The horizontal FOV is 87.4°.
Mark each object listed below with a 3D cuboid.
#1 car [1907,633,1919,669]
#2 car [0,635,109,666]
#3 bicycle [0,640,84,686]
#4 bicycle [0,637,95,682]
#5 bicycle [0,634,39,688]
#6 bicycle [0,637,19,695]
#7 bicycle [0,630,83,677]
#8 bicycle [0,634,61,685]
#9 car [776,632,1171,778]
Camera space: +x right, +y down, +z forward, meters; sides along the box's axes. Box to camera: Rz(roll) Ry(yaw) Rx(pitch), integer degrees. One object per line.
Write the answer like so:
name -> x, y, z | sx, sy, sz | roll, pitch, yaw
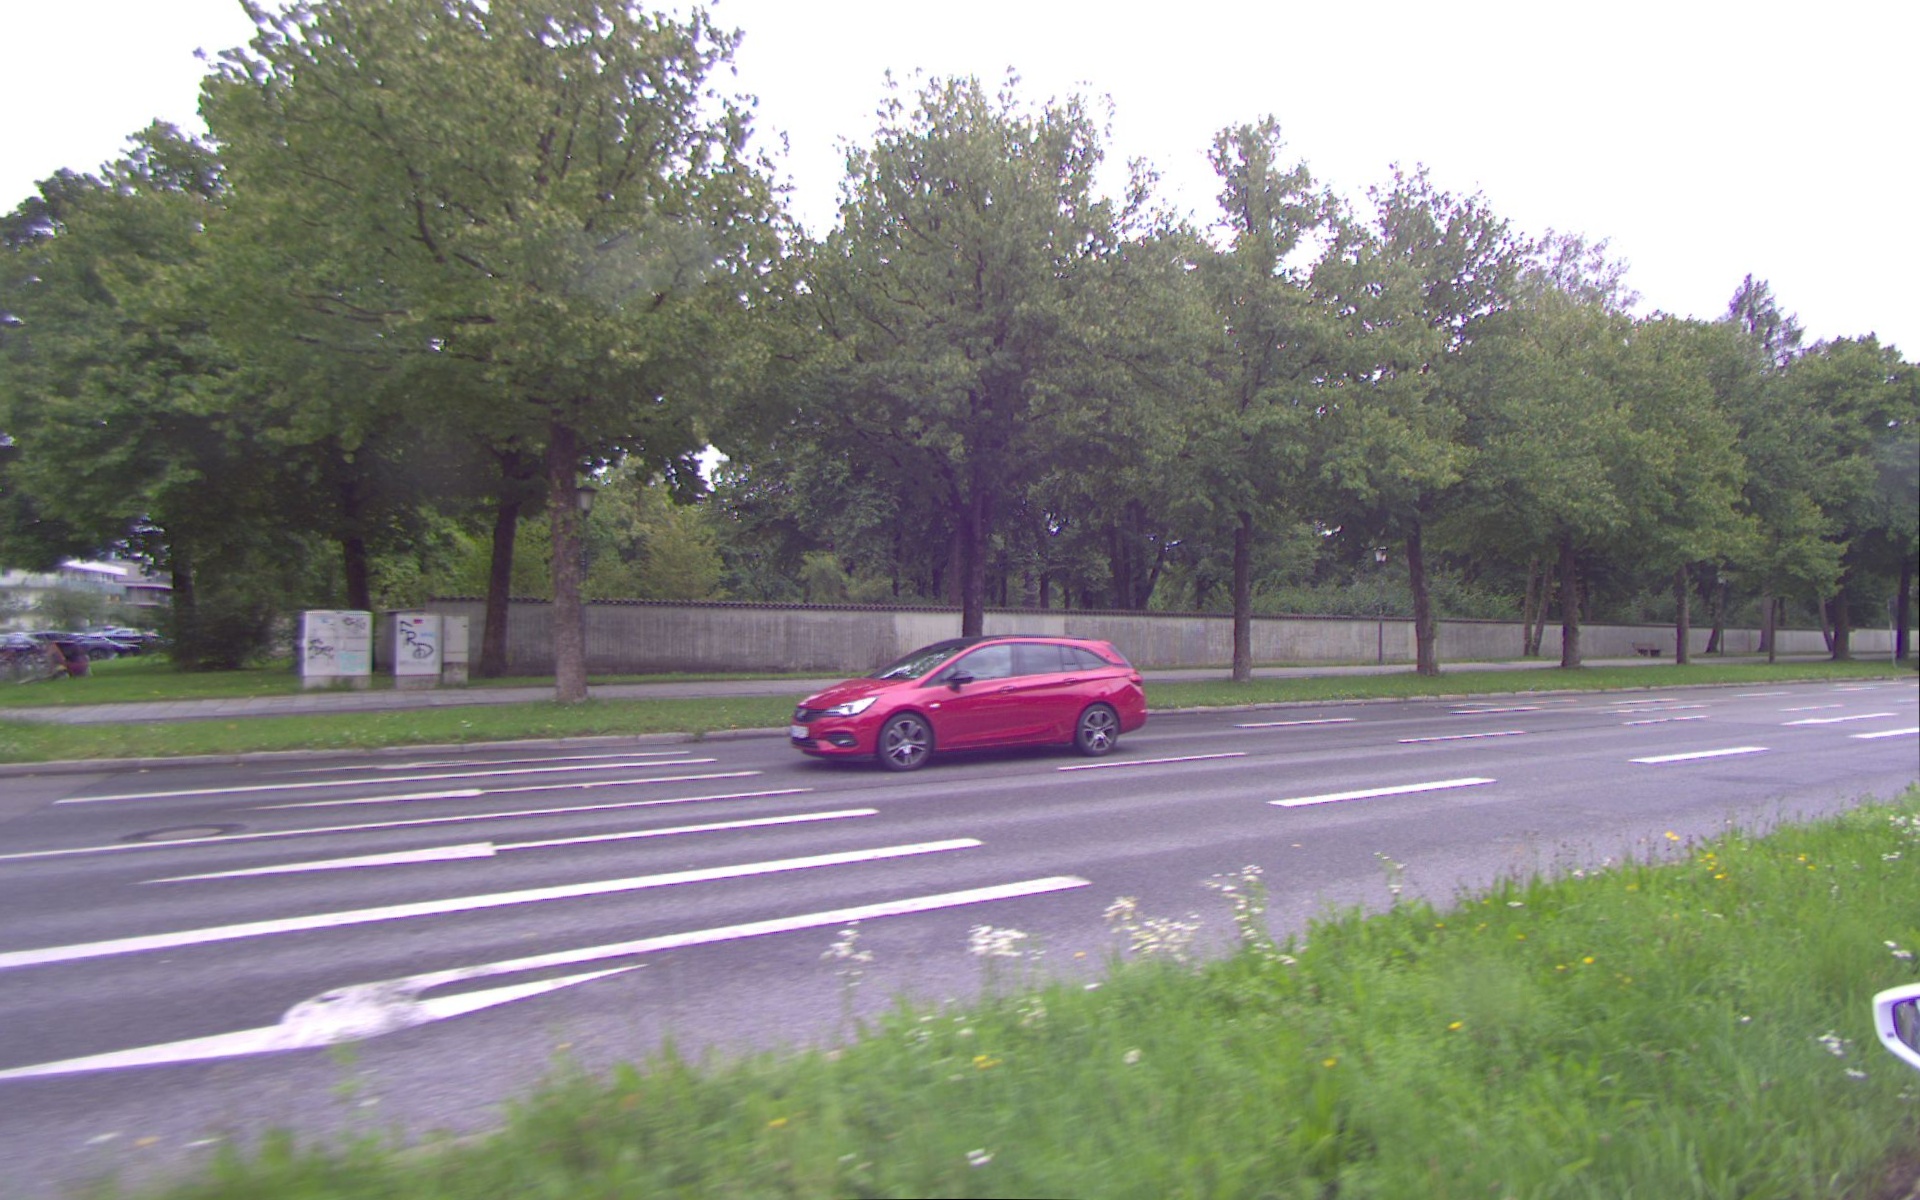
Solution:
car -> 43.970, 2.263, 44.401 | 4.857, 1.510, 1.790 | 1, 0, -30
car -> -44.711, 2.466, 49.419 | 1.900, 1.435, 4.190 | -1, -2, 44
bicycle -> -25.367, 1.702, 27.112 | 2.468, 1.201, 0.831 | 1, -2, -32
bicycle -> -25.842, 1.650, 28.025 | 2.468, 1.201, 0.831 | 1, -2, -32
bicycle -> -22.078, 1.347, 22.149 | 2.468, 1.201, 0.831 | 1, -2, -32
bicycle -> -21.469, 1.387, 20.996 | 2.468, 1.201, 0.831 | 1, -2, -32
bicycle -> -24.599, 1.416, 26.181 | 2.468, 1.201, 0.831 | 3, -5, -32
bicycle -> -23.035, 1.403, 23.782 | 2.468, 1.201, 0.831 | 1, -2, -32
car -> 0.243, 1.166, 12.264 | 4.603, 1.471, 1.735 | 1, -4, -31
